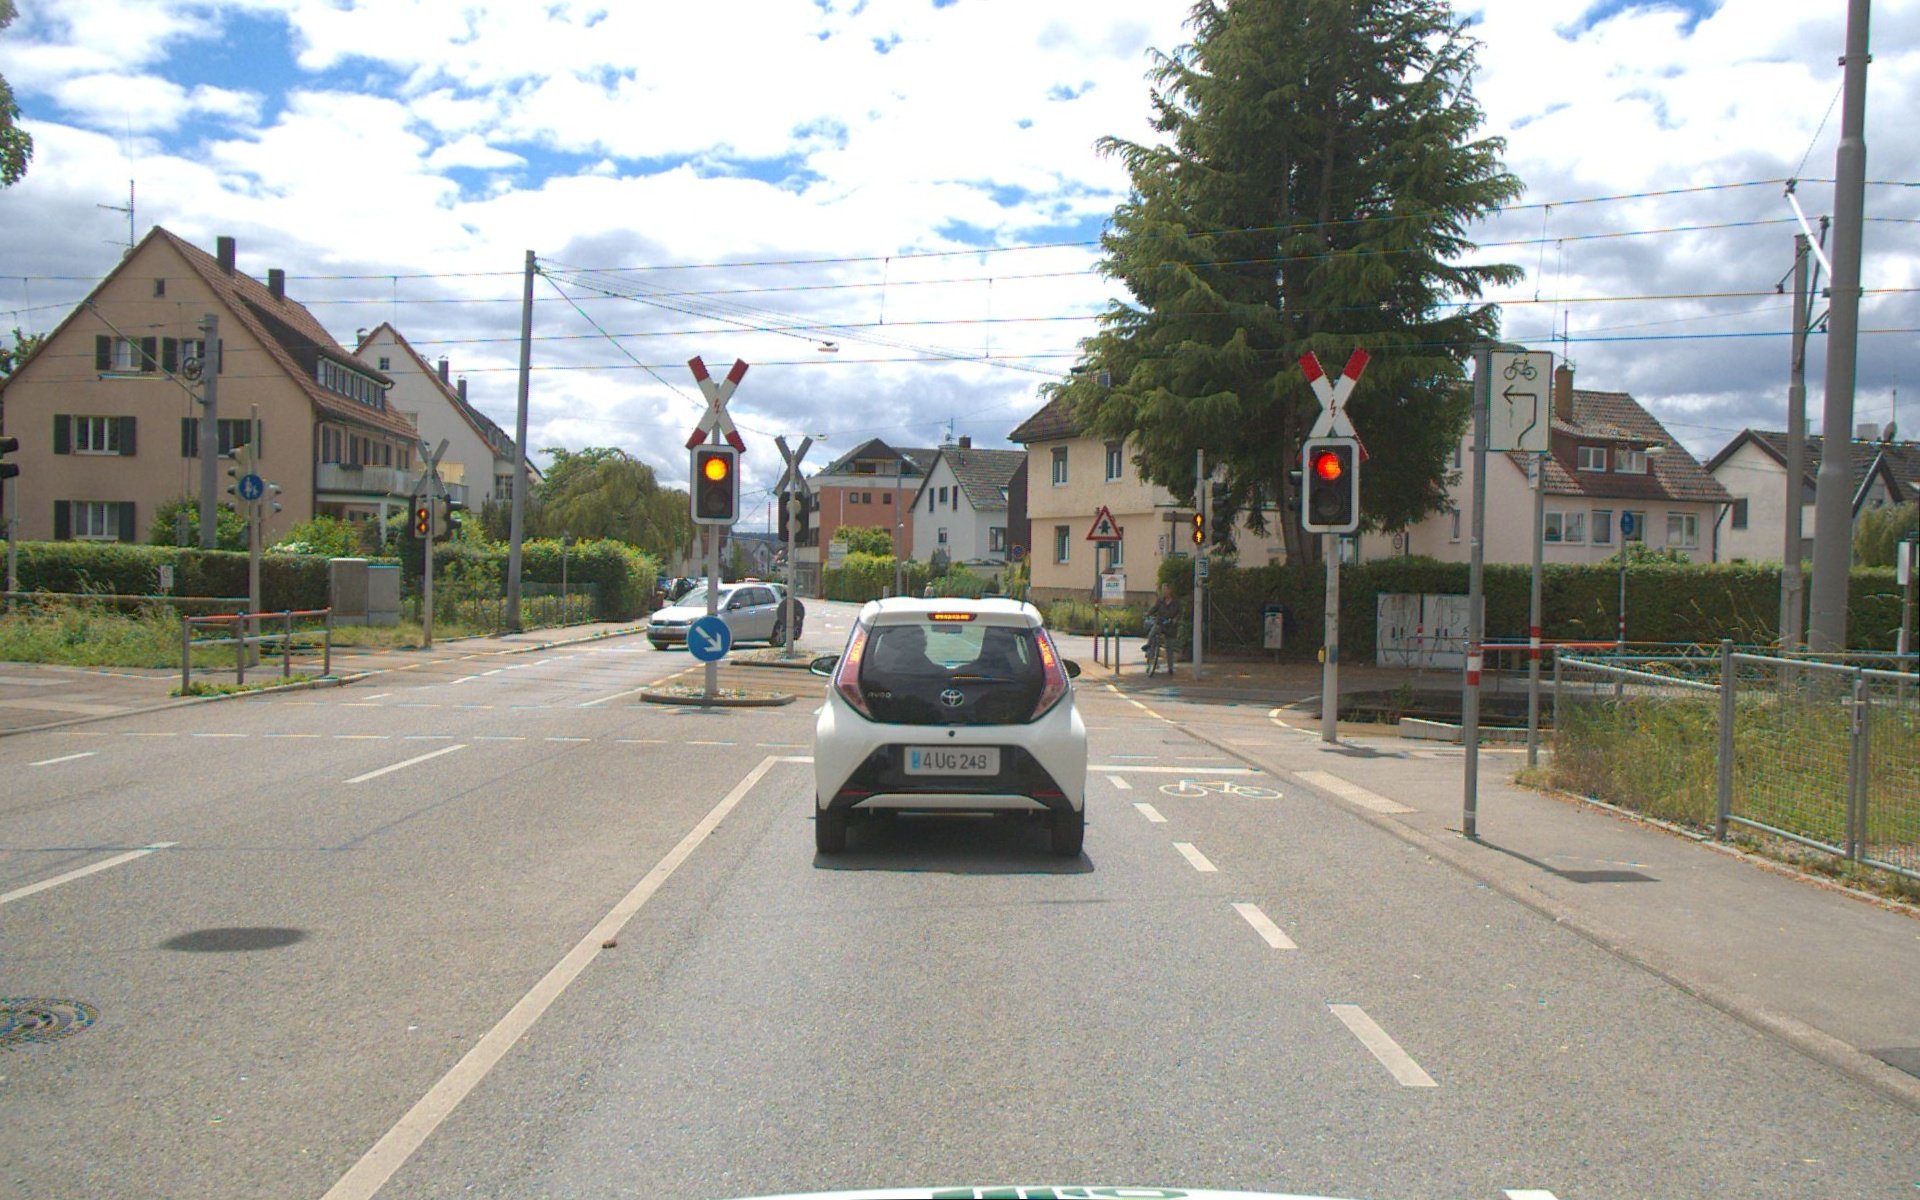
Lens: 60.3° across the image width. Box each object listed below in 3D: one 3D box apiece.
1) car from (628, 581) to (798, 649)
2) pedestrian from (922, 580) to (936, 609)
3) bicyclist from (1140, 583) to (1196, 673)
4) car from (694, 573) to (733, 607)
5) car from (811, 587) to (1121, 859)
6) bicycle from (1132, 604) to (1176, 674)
[{"bbox_3d":[-5.715,0.352,38.737,1.868,1.466,4.094,2,0,27],"label":"car"},{"bbox_3d":[-1.729,-0.303,91.688,0.711,1.604,0.803,2,0,-1],"label":"pedestrian"},{"bbox_3d":[3.846,0.513,30.617,0.825,1.580,0.755,-2,3,-7],"label":"bicyclist"},{"bbox_3d":[-13.314,-0.541,89.565,1.956,1.749,3.994,2,0,-7],"label":"car"},{"bbox_3d":[-0.093,0.675,11.030,1.687,1.467,3.705,2,0,-4],"label":"car"},{"bbox_3d":[3.589,0.710,30.697,0.448,1.192,1.477,-2,3,-6],"label":"bicycle"}]
